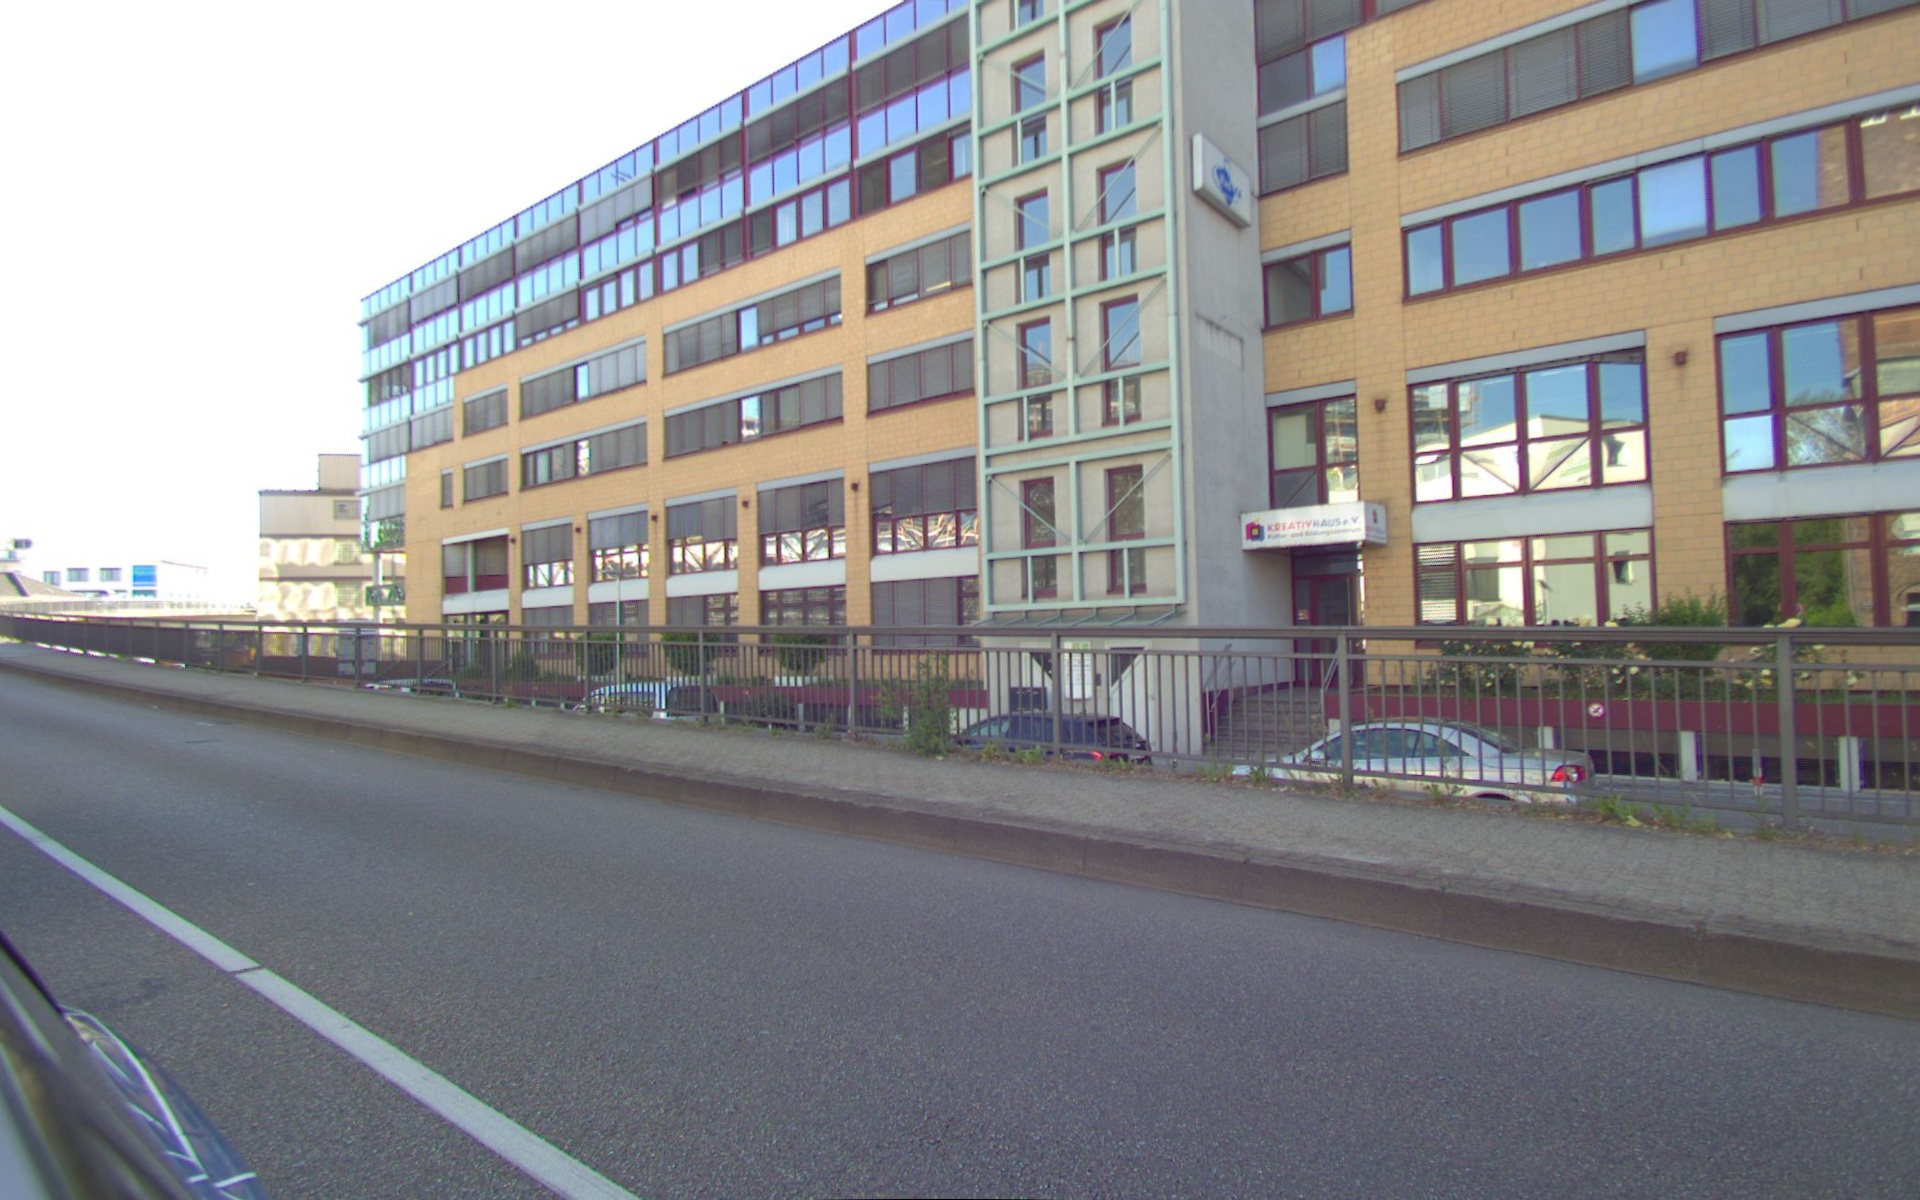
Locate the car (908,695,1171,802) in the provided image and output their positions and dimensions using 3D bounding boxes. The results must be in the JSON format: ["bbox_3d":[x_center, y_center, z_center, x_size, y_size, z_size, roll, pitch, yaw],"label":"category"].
[{"bbox_3d":[1.132,2.177,15.469,3.804,1.279,1.560,-2,-4,39],"label":"car"}]

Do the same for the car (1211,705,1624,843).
[{"bbox_3d":[5.378,1.959,12.227,4.253,1.175,1.704,-2,-4,39],"label":"car"}]

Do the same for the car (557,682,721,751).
[{"bbox_3d":[-7.023,2.466,21.991,3.804,1.279,1.560,-2,-4,39],"label":"car"}]

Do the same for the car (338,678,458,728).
[{"bbox_3d":[-16.341,2.943,29.372,3.804,1.279,1.744,-2,-4,39],"label":"car"}]

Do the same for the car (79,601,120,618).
[{"bbox_3d":[-79.466,0.854,93.522,1.717,1.418,4.214,2,-3,-24],"label":"car"}]
